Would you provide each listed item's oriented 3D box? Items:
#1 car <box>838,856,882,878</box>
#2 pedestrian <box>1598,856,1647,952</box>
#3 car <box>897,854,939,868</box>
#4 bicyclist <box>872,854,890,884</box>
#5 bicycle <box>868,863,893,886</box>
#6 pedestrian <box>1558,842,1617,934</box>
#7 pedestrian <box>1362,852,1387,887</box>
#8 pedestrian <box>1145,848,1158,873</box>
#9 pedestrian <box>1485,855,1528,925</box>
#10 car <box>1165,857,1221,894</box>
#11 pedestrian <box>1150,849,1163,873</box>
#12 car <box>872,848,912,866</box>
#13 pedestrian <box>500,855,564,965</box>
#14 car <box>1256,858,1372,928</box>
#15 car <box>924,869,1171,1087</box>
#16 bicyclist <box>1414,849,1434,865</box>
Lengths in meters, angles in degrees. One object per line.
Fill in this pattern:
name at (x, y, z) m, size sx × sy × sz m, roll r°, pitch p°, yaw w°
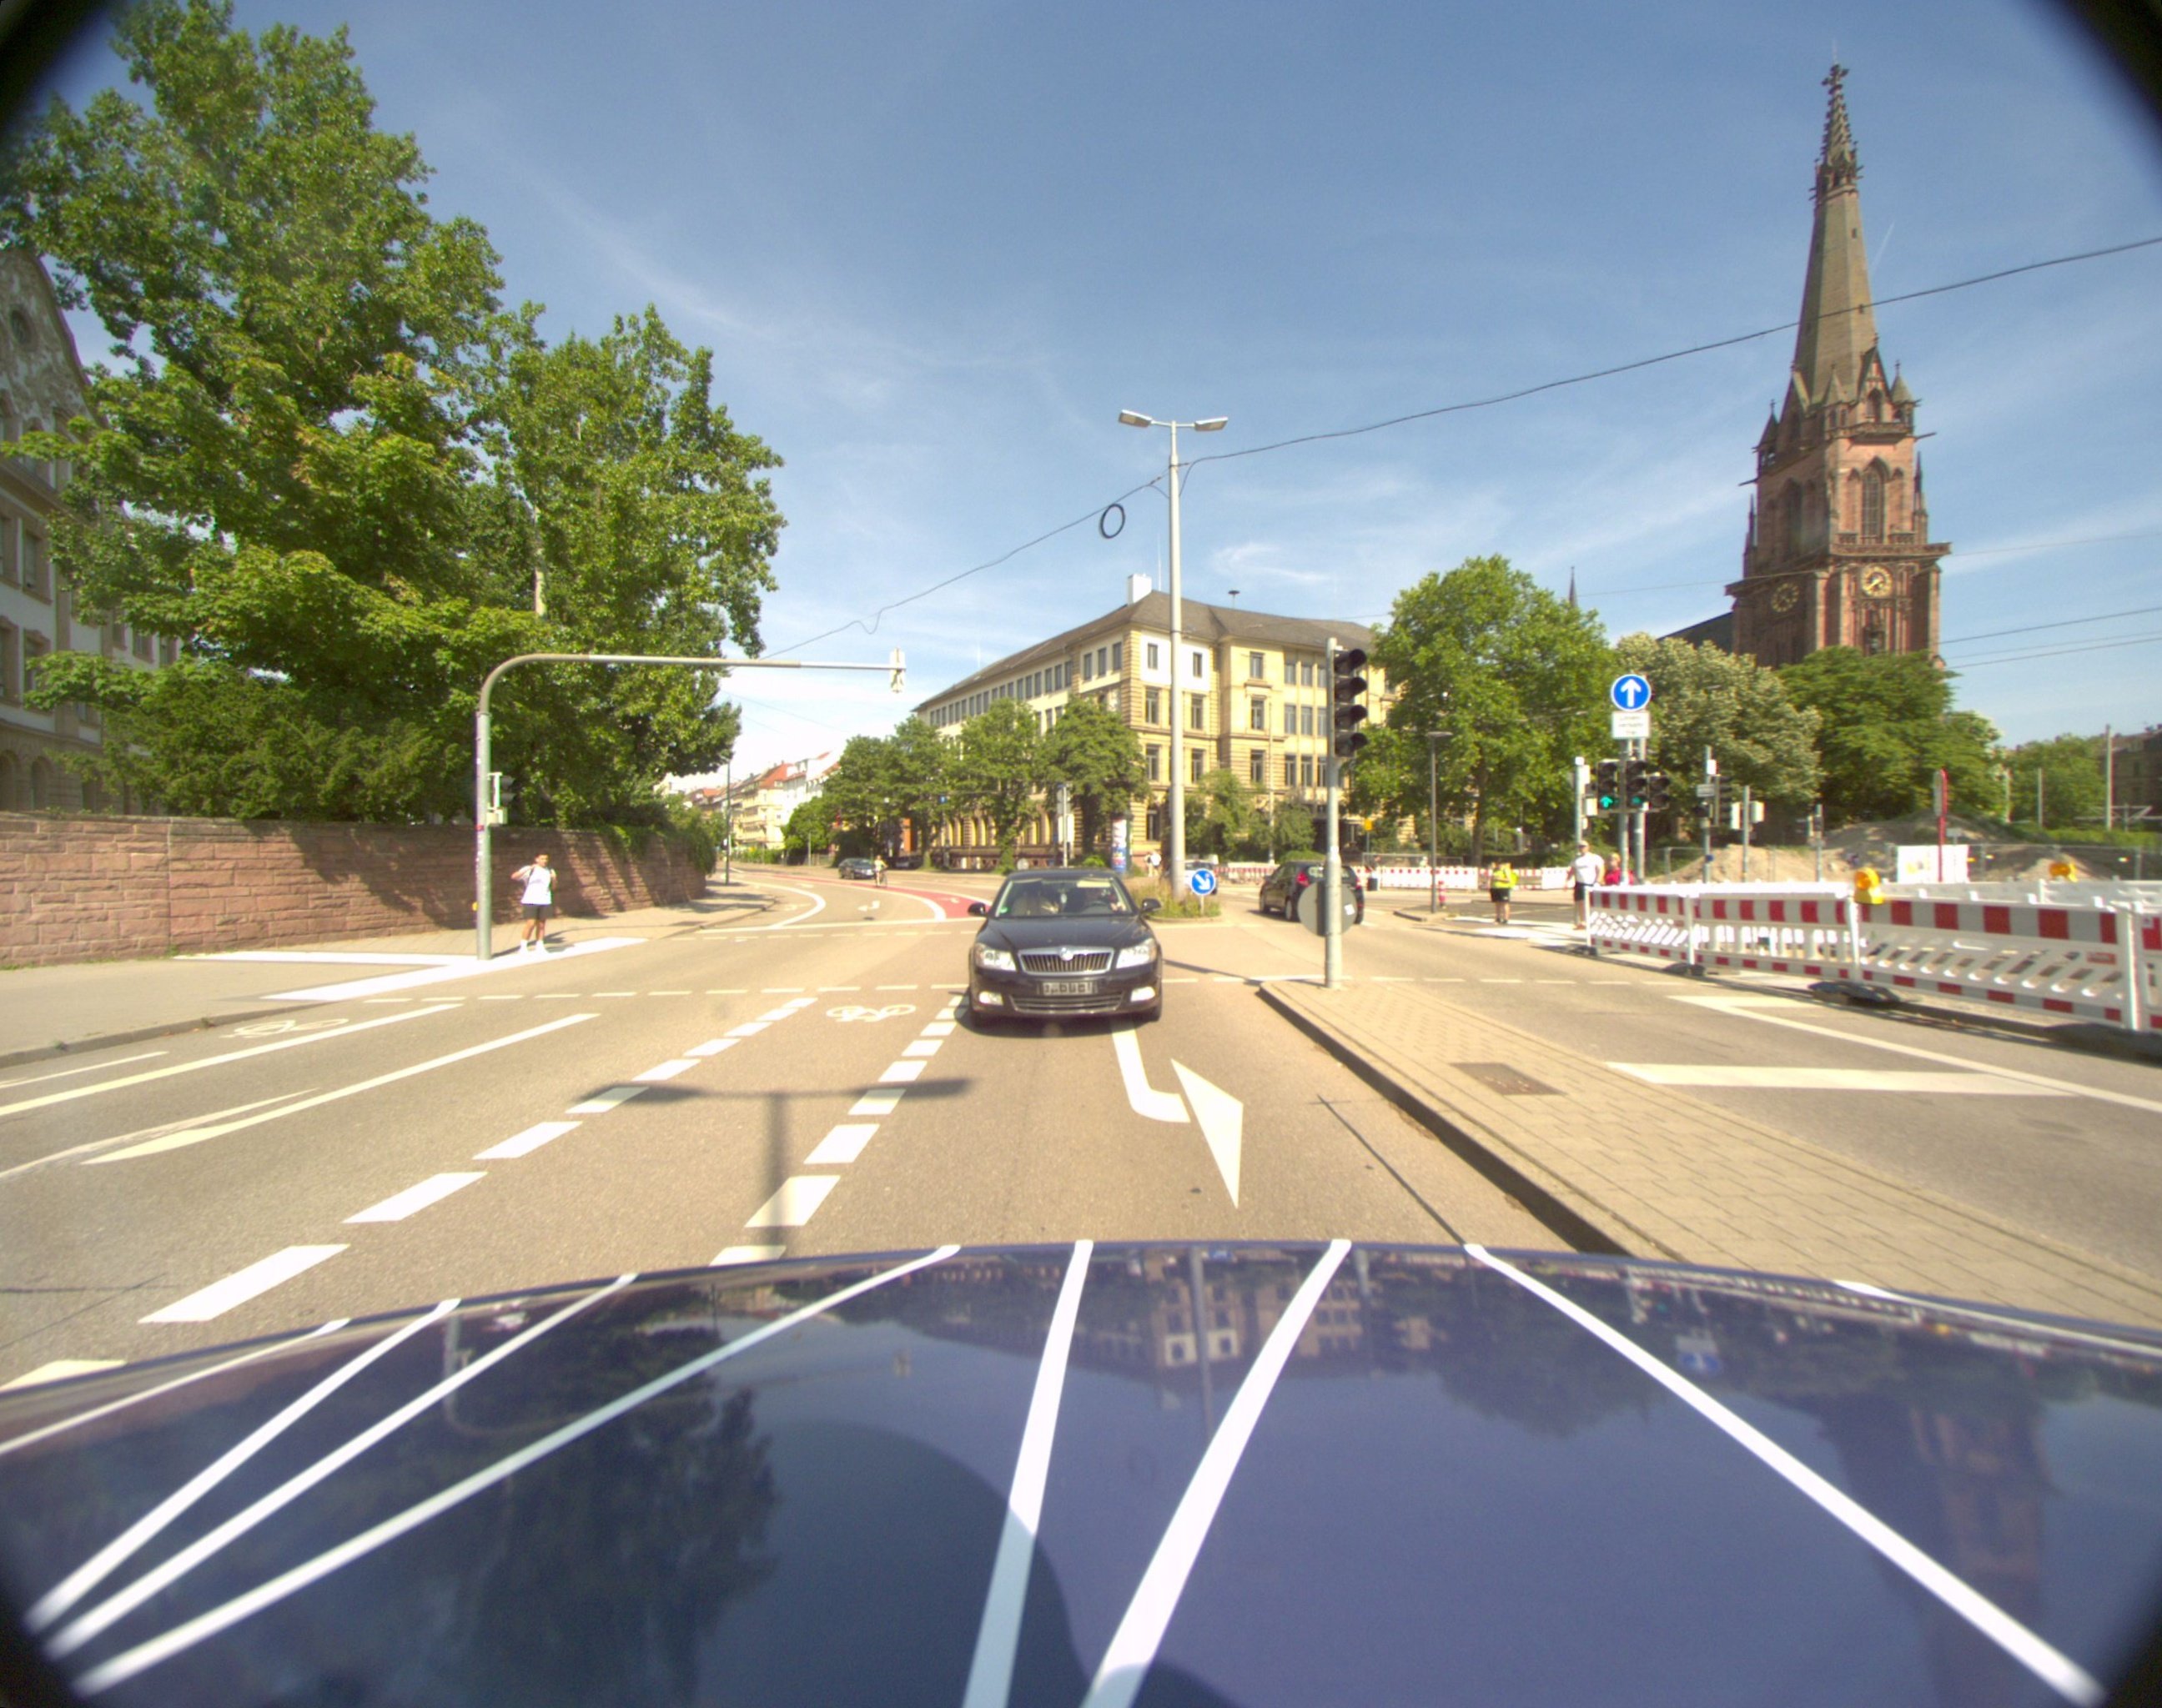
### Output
car at (-15.278, 0.855, 52.382) m, size 1.806 × 1.368 × 4.266 m, roll -2°, pitch 1°, yaw -32°
pedestrian at (9.275, 0.832, 13.031) m, size 0.350 × 1.606 × 0.686 m, roll 0°, pitch 1°, yaw 1°
car at (-17.742, 0.725, 82.589) m, size 4.008 × 1.455 × 1.995 m, roll 0°, pitch 0°, yaw -36°
bicyclist at (-10.758, 0.793, 40.887) m, size 0.589 × 1.539 × 0.929 m, roll -3°, pitch 2°, yaw -32°
bicycle at (-10.799, 1.089, 40.932) m, size 0.687 × 1.215 × 2.181 m, roll 0°, pitch 0°, yaw -32°
pedestrian at (10.272, 0.678, 15.418) m, size 0.651 × 1.802 × 0.839 m, roll -1°, pitch 0°, yaw -41°
pedestrian at (13.996, 0.735, 36.240) m, size 0.939 × 1.646 × 0.845 m, roll 0°, pitch 1°, yaw 9°
pedestrian at (4.975, 0.456, 53.902) m, size 0.743 × 1.739 × 0.586 m, roll 0°, pitch 1°, yaw 32°
pedestrian at (9.645, 0.816, 17.224) m, size 0.667 × 1.534 × 0.423 m, roll -3°, pitch 1°, yaw 0°
car at (4.642, 0.844, 31.929) m, size 1.798 × 1.403 × 4.000 m, roll 1°, pitch 0°, yaw 1°
pedestrian at (5.395, 0.498, 54.368) m, size 0.743 × 1.739 × 0.586 m, roll 0°, pitch 1°, yaw 33°
car at (-21.582, 0.387, 86.866) m, size 4.008 × 2.002 × 1.995 m, roll 0°, pitch 0°, yaw -36°
pedestrian at (-9.594, 0.957, 13.308) m, size 0.654 × 1.863 × 0.795 m, roll 1°, pitch 0°, yaw -18°
car at (5.511, 0.860, 18.471) m, size 1.670 × 1.442 × 3.818 m, roll 1°, pitch 0°, yaw 1°
car at (-0.212, 0.987, 8.161) m, size 1.864 × 1.510 × 4.827 m, roll 0°, pitch 1°, yaw 1°
bicyclist at (19.819, 0.178, 43.920) m, size 0.684 × 0.921 × 0.867 m, roll -1°, pitch 1°, yaw -39°
